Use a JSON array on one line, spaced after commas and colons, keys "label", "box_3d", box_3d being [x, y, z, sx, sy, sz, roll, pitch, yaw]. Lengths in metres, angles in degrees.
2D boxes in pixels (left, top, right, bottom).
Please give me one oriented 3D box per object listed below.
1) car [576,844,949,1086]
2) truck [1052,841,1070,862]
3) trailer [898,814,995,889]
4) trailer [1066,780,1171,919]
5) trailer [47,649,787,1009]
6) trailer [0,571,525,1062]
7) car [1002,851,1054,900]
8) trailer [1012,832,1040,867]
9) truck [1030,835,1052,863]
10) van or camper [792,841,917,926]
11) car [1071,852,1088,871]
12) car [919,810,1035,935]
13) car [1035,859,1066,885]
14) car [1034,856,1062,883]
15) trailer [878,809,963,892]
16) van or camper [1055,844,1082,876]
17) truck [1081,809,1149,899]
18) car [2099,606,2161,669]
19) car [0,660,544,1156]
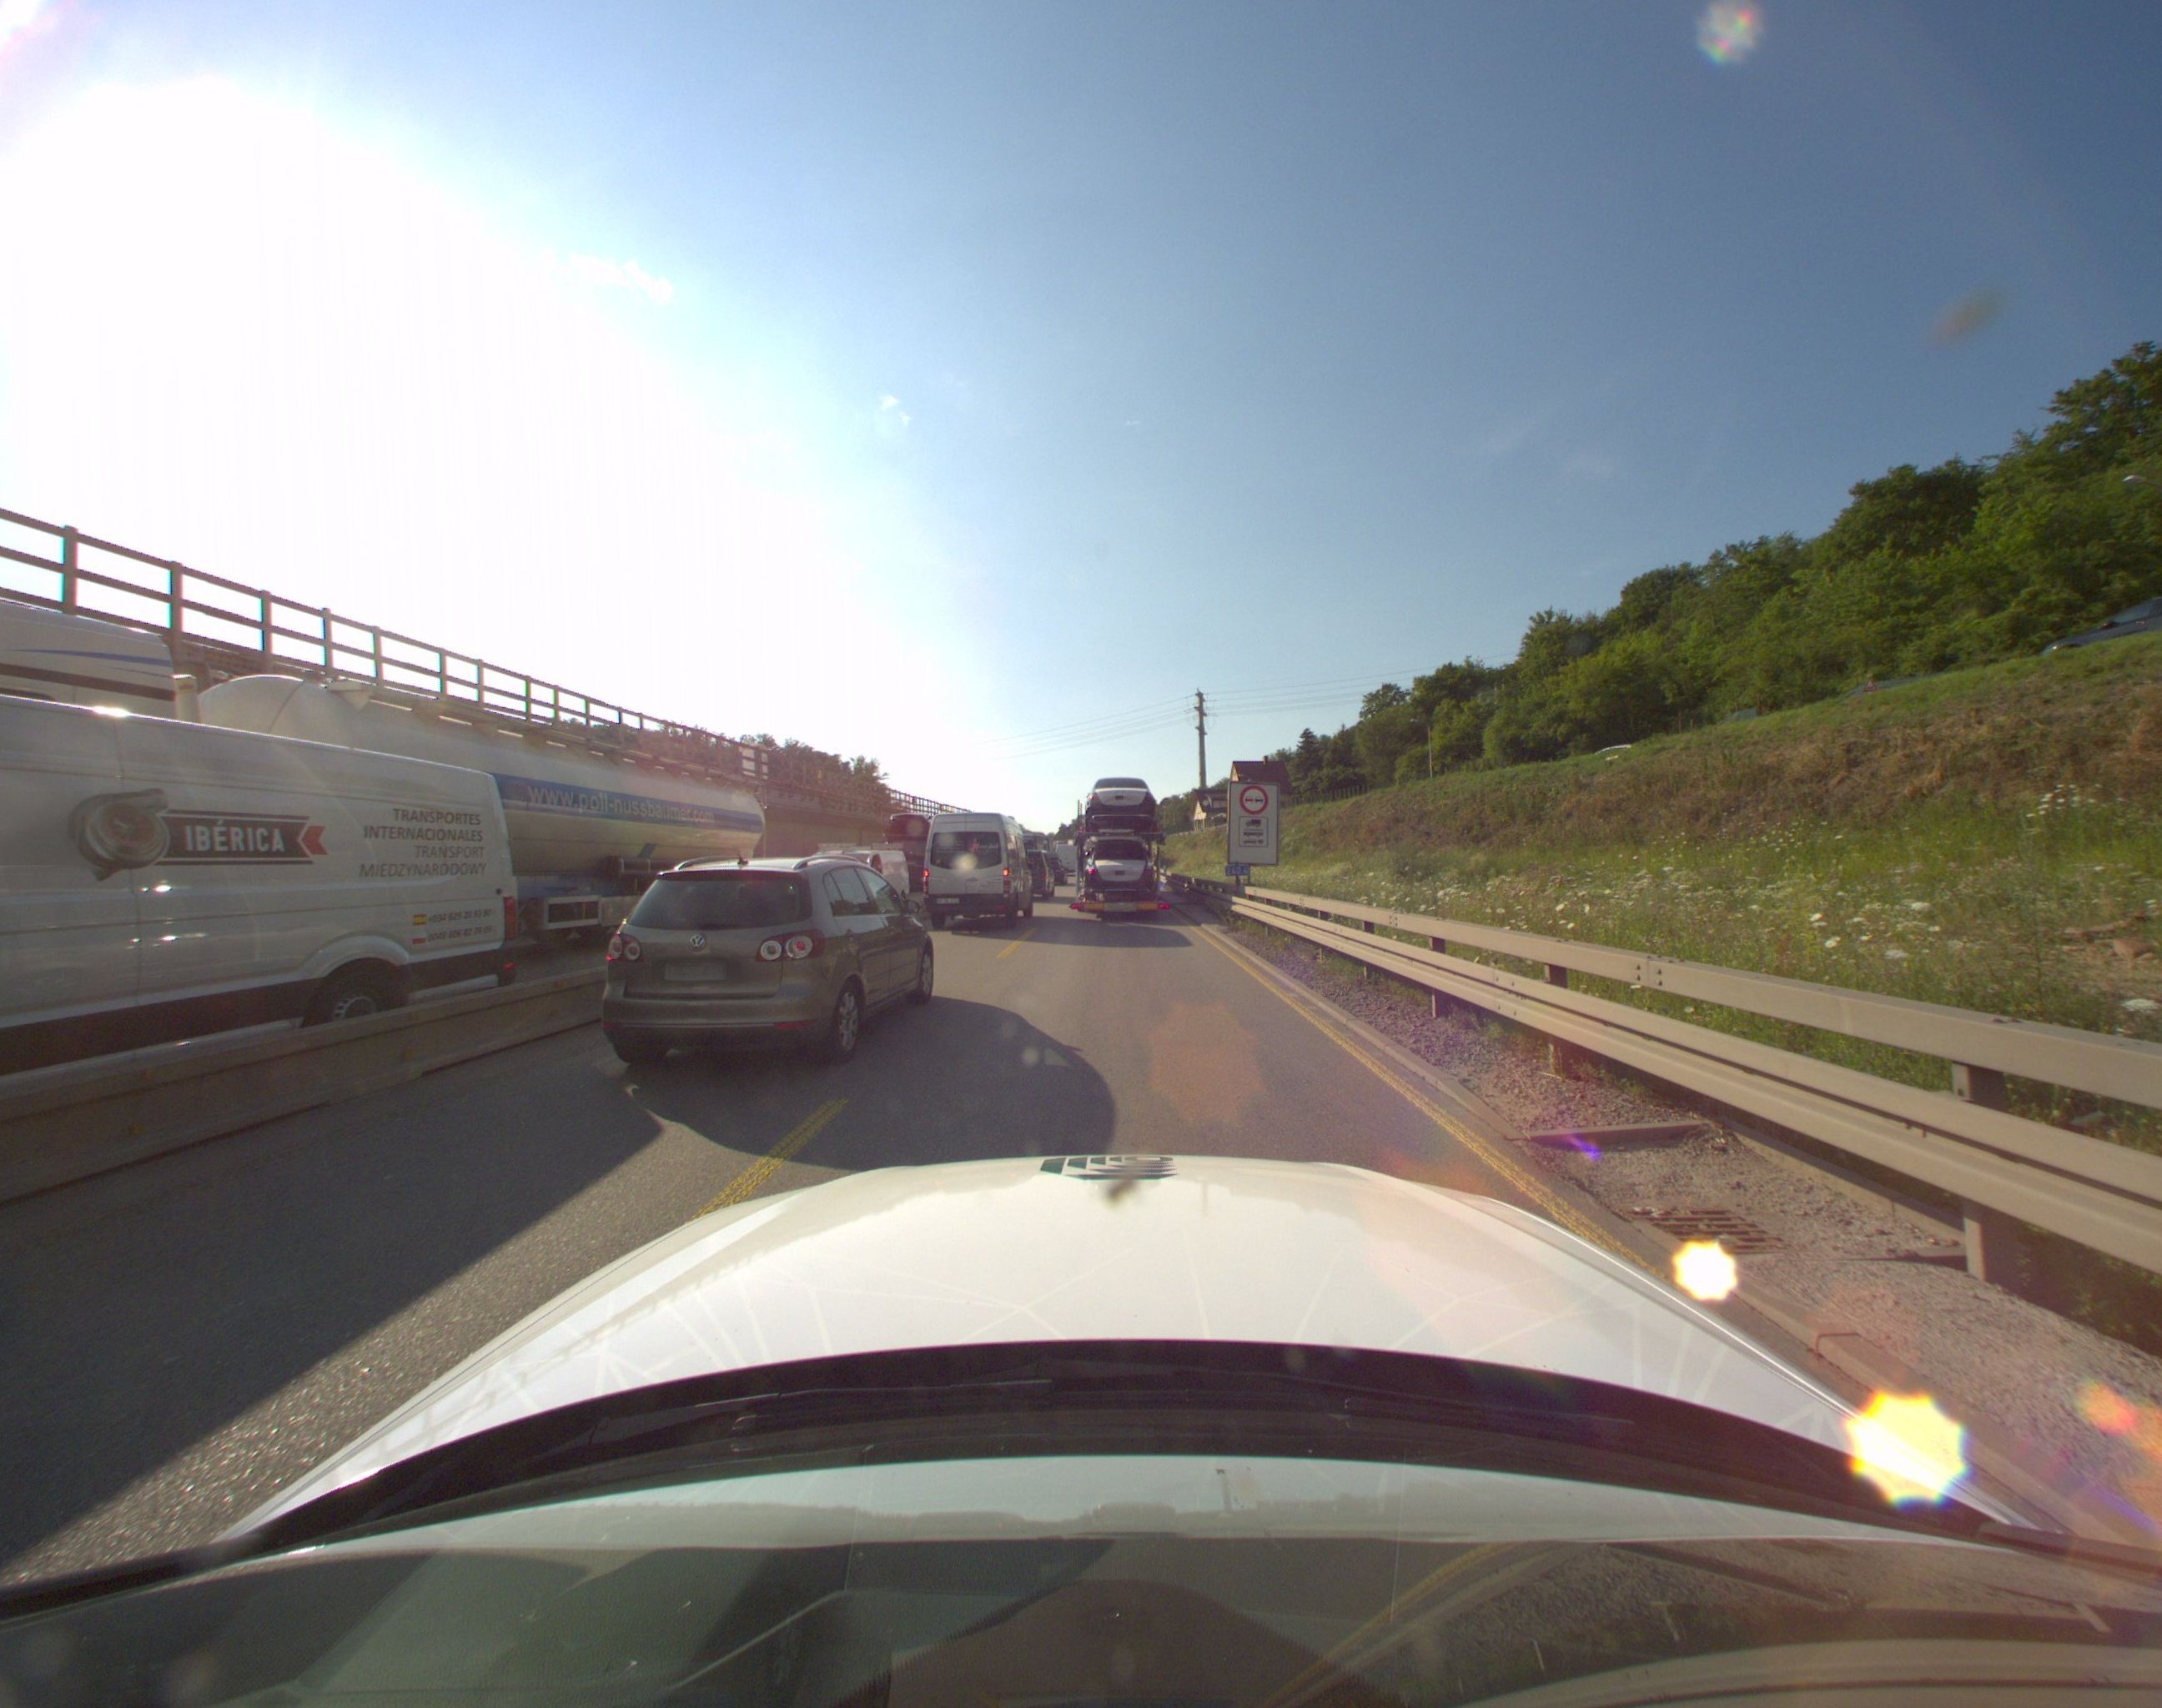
[{"label": "car", "box_3d": [-2.486, 0.777, 7.585, 1.674, 1.588, 4.273, -1, -1, 2]}, {"label": "truck", "box_3d": [-3.588, -0.405, 148.853, 2.705, 3.424, 8.141, -3, -1, 1]}, {"label": "trailer", "box_3d": [-8.010, -0.053, 51.205, 2.760, 4.031, 15.773, 0, -1, 3]}, {"label": "trailer", "box_3d": [1.223, -0.063, 28.338, 2.672, 3.535, 15.295, 0, 0, 2]}, {"label": "trailer", "box_3d": [-9.537, -0.203, 15.446, 2.642, 3.850, 13.447, 0, -1, 2]}, {"label": "trailer", "box_3d": [-9.727, -0.267, 8.951, 2.642, 3.850, 6.431, 0, -1, 2]}, {"label": "car", "box_3d": [-2.111, 0.859, 33.383, 1.802, 1.904, 4.000, 0, -1, 1]}, {"label": "trailer", "box_3d": [-6.501, -0.550, 97.120, 2.754, 4.141, 5.978, 0, 1, 1]}, {"label": "truck", "box_3d": [-5.855, -0.718, 119.528, 2.850, 4.008, 5.659, 0, -1, 1]}, {"label": "van or camper", "box_3d": [-5.950, 0.729, 22.126, 1.852, 2.014, 5.296, 0, -1, 1]}, {"label": "car", "box_3d": [-0.166, 0.852, 93.028, 1.879, 2.100, 3.766, 0, 0, 1]}, {"label": "car", "box_3d": [-2.412, 0.385, 20.450, 1.986, 2.648, 5.533, -1, 0, 2]}, {"label": "car", "box_3d": [-1.853, 1.075, 50.142, 1.719, 1.522, 3.973, 0, 0, 0]}, {"label": "car", "box_3d": [-3.224, 1.475, 80.391, 2.463, 2.534, 4.001, -1, 0, 1]}, {"label": "trailer", "box_3d": [-8.351, -0.132, 43.260, 2.760, 4.031, 7.212, 0, -1, 3]}, {"label": "van or camper", "box_3d": [-1.015, 0.518, 68.674, 1.960, 2.591, 5.045, 0, -1, 3]}, {"label": "truck", "box_3d": [1.469, 0.010, 35.698, 2.672, 3.535, 7.196, 0, 0, 2]}, {"label": "car", "box_3d": [31.703, -6.394, 23.153, 1.356, 1.458, 3.225, 0, -1, -6]}, {"label": "car", "box_3d": [-6.700, 0.291, 4.769, 1.986, 2.623, 7.413, 0, -1, 2]}]
